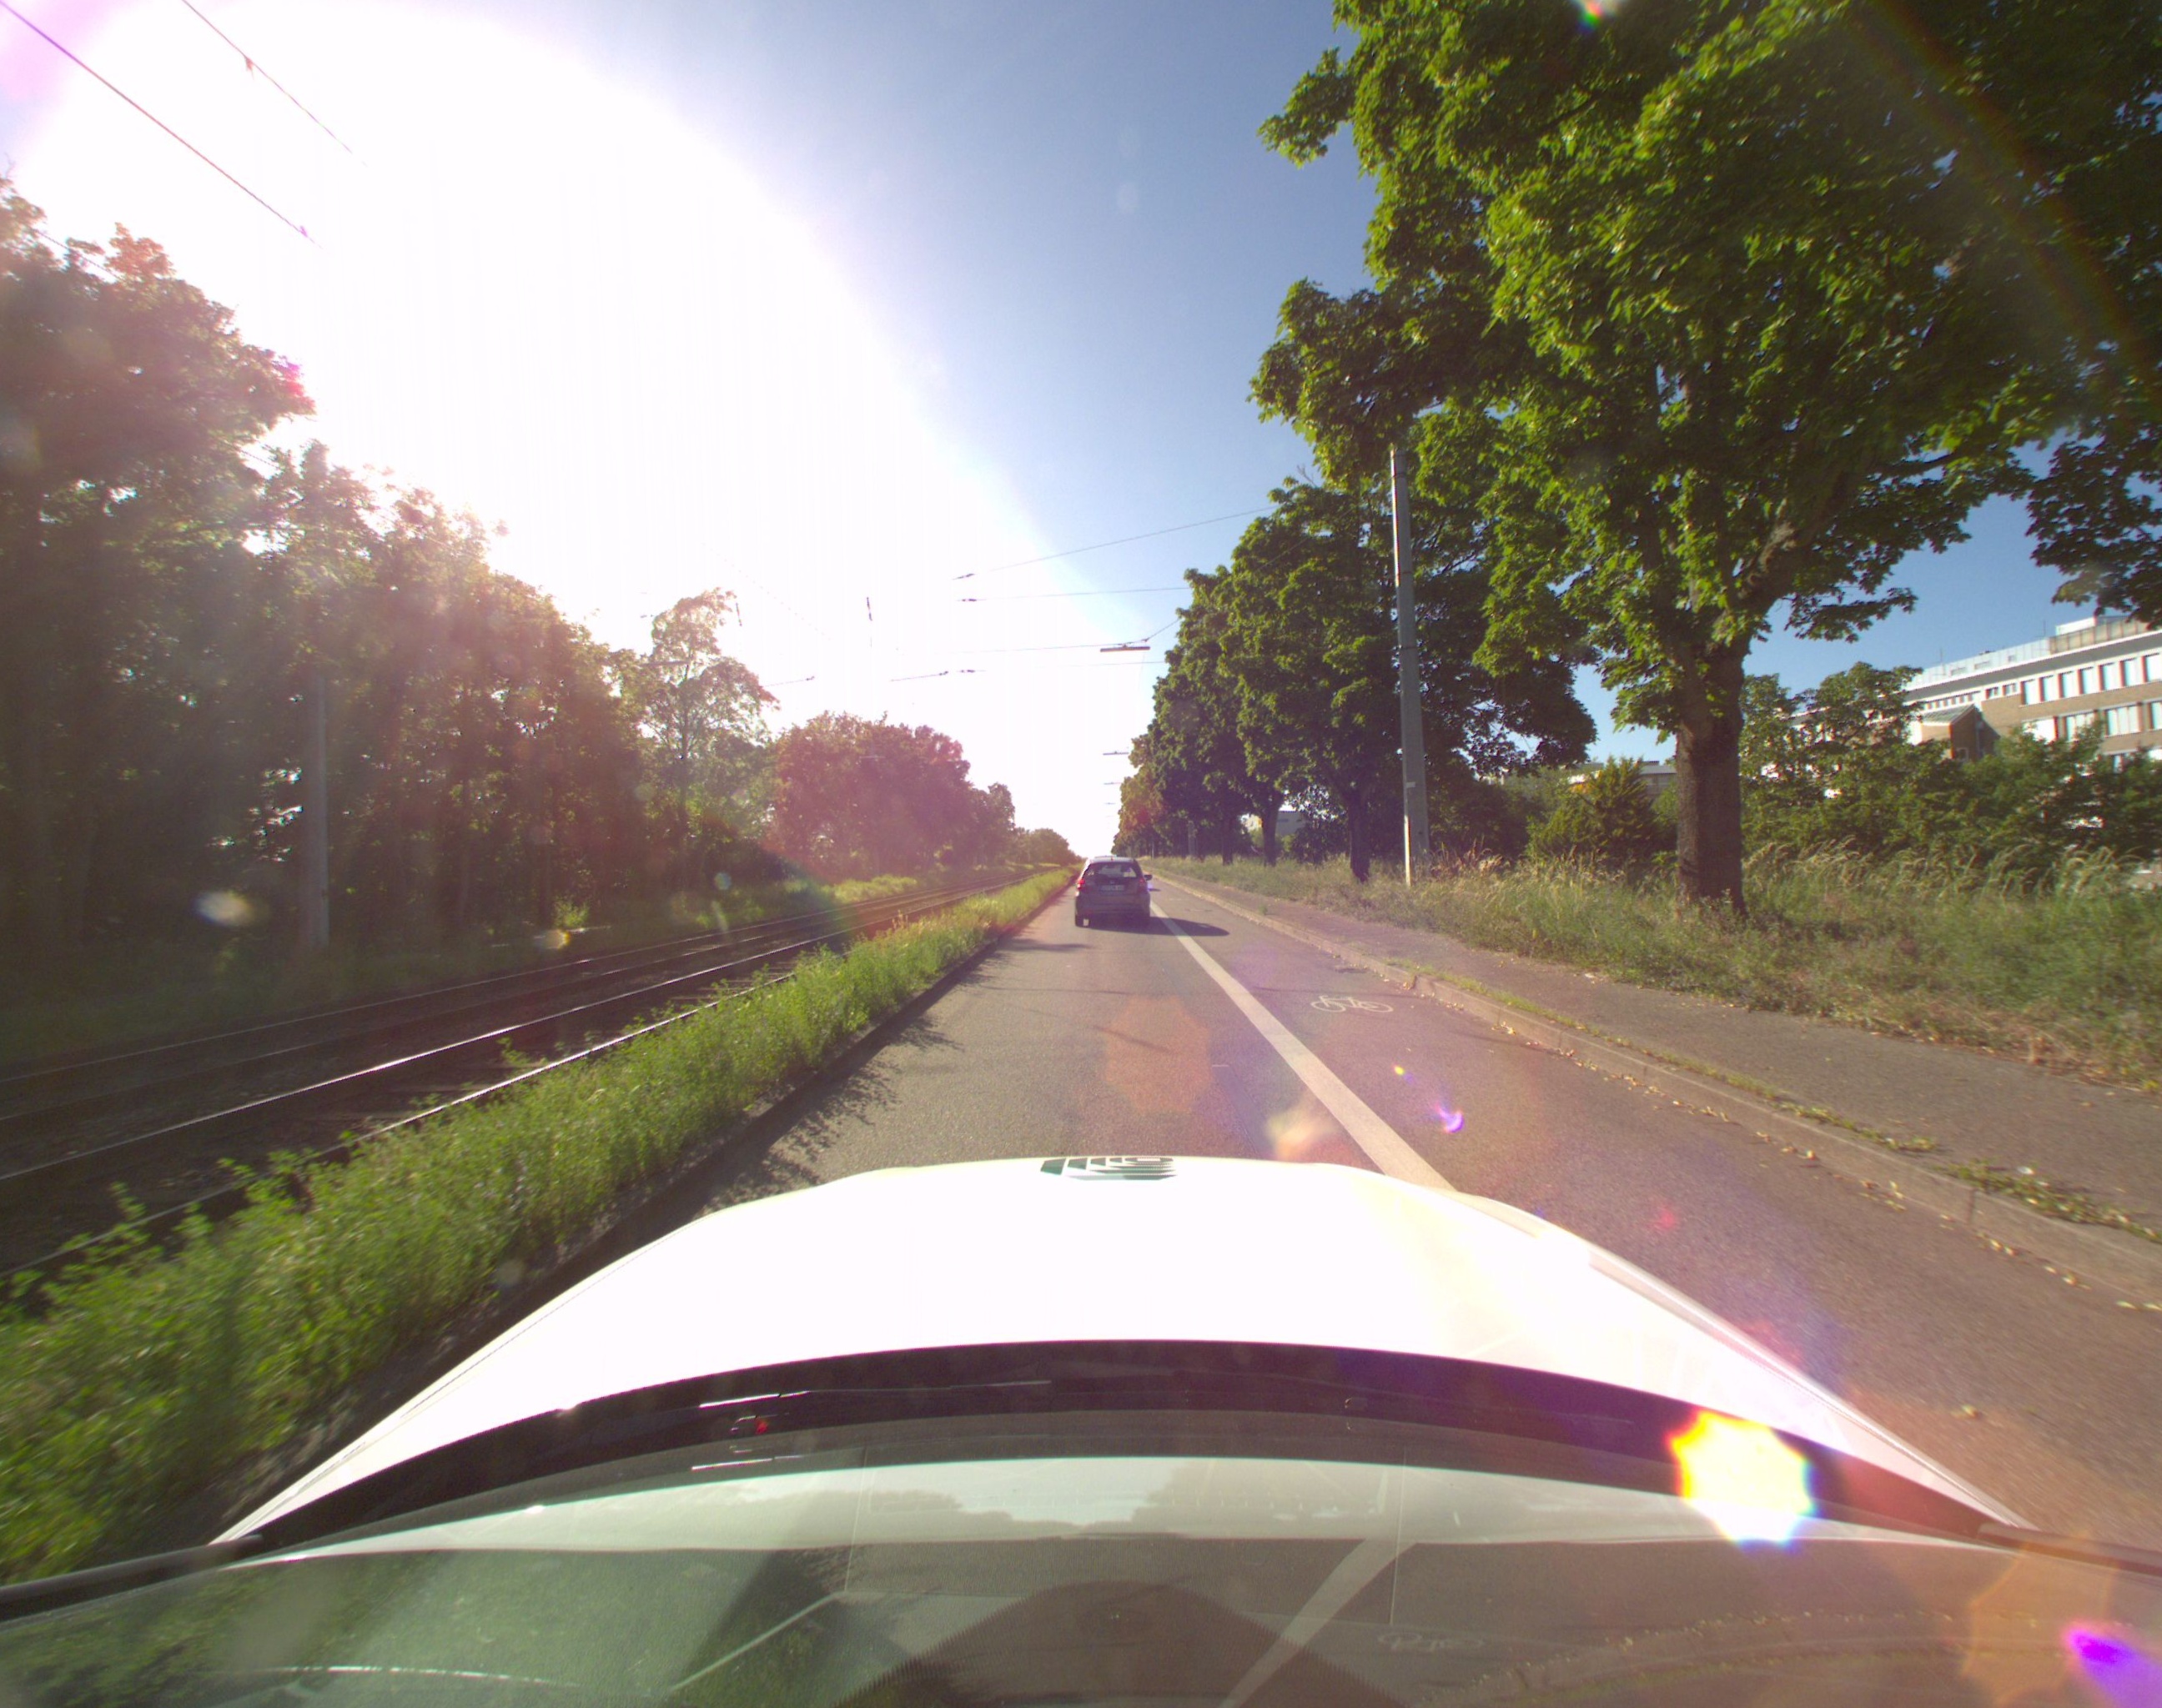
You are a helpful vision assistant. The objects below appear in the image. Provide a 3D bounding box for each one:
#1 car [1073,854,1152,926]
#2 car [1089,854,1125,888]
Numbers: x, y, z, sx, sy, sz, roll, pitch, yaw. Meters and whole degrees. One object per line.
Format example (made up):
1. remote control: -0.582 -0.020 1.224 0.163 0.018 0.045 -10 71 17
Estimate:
1. car: 0.740 0.783 19.141 1.663 1.507 3.813 0 -1 2
2. car: 1.271 0.788 39.037 1.648 1.507 3.813 0 -1 2
